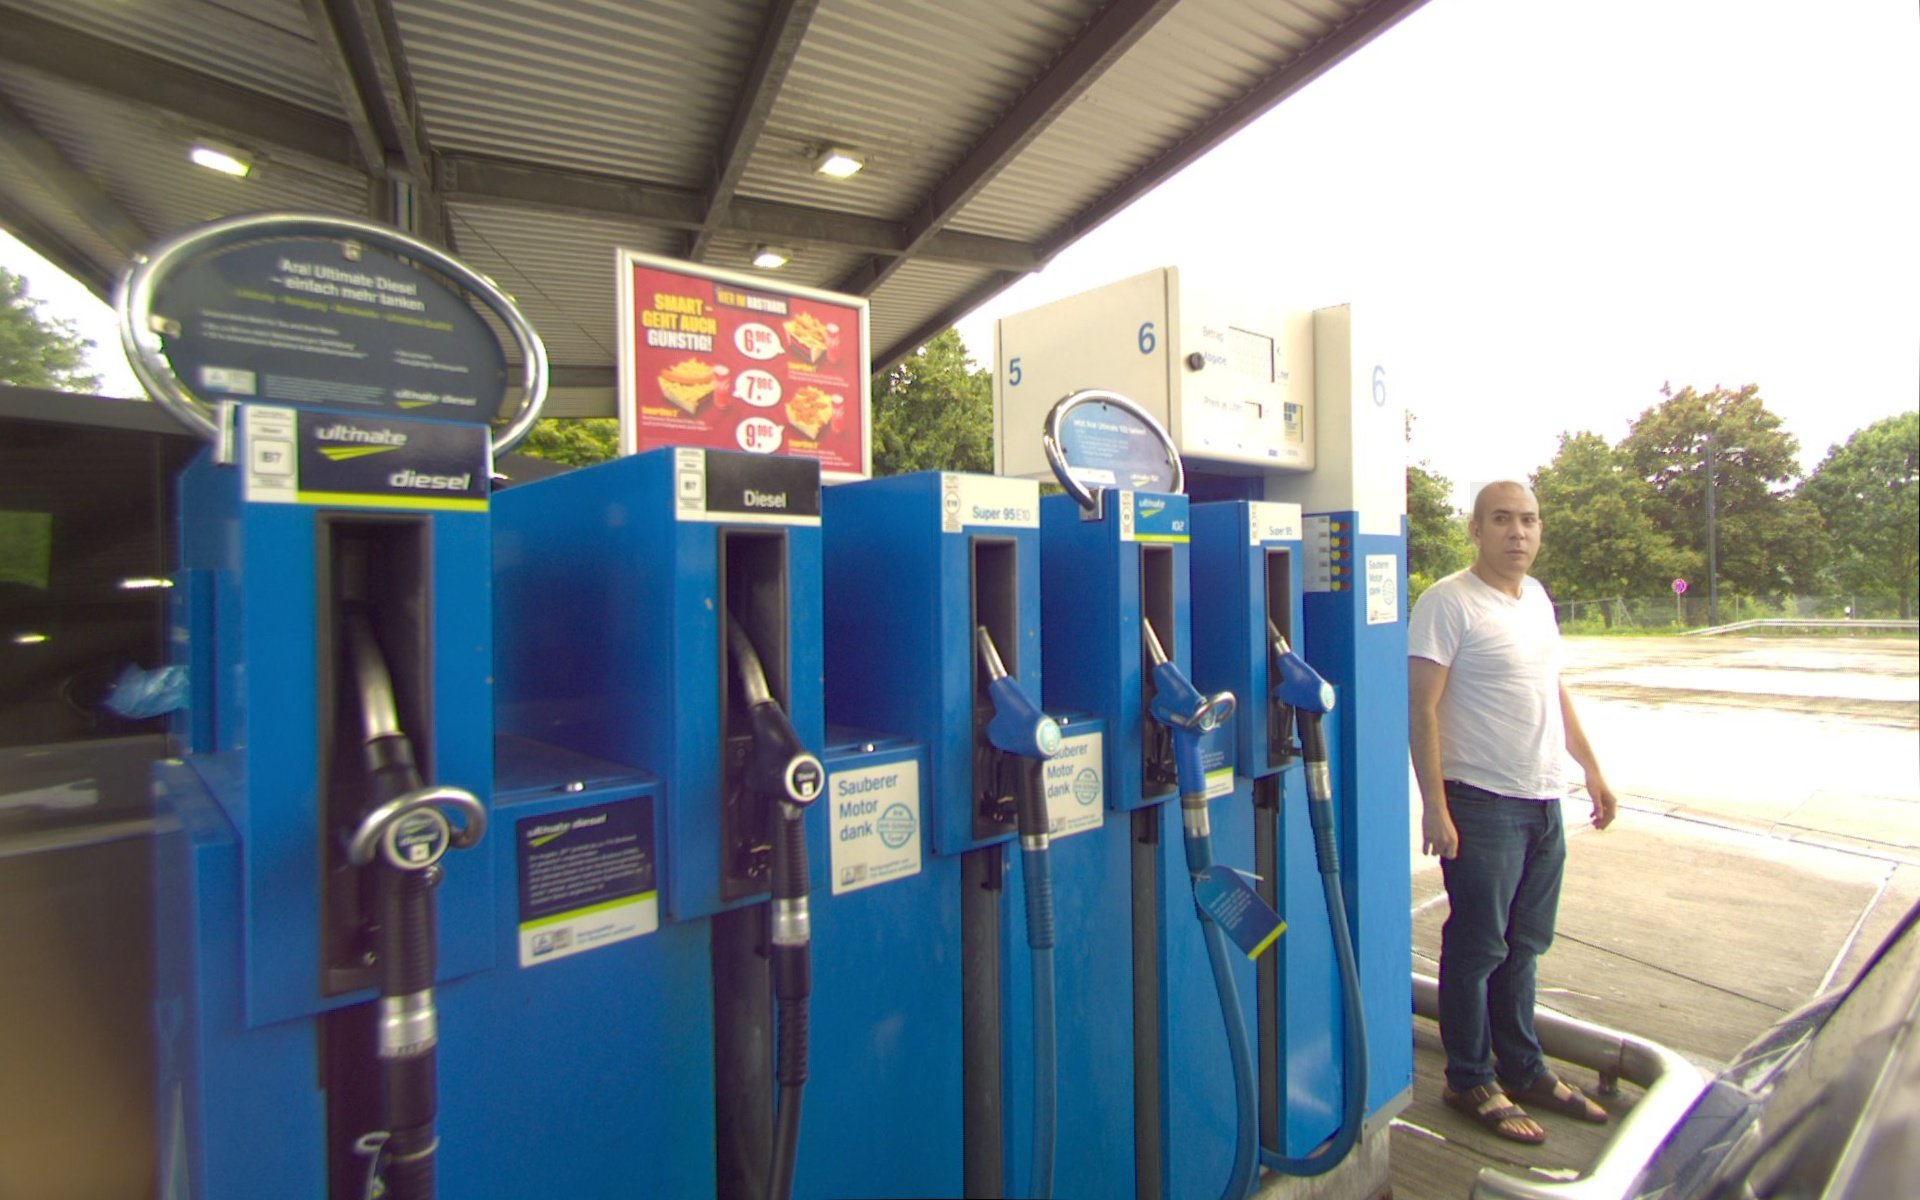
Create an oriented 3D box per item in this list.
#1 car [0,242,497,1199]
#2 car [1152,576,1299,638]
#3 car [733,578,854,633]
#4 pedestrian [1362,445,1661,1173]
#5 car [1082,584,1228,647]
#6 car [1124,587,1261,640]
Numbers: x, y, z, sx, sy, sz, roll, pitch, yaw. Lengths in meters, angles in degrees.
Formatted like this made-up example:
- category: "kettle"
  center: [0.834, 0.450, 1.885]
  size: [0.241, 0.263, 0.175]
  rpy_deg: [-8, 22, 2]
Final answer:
- category: "car"
  center: [-3.025, 0.412, 1.481]
  size: [3.930, 1.973, 1.819]
  rpy_deg: [0, 0, -41]
- category: "car"
  center: [8.932, 0.208, 34.335]
  size: [4.700, 2.011, 2.007]
  rpy_deg: [0, 0, 14]
- category: "car"
  center: [-5.555, 0.152, 33.469]
  size: [1.967, 1.683, 4.170]
  rpy_deg: [0, 0, -44]
- category: "pedestrian"
  center: [1.583, 0.517, 2.915]
  size: [0.621, 1.832, 0.495]
  rpy_deg: [-2, 1, -31]
- category: "car"
  center: [5.807, 0.421, 30.016]
  size: [4.123, 1.752, 1.990]
  rpy_deg: [0, 0, 17]
- category: "car"
  center: [7.395, 0.405, 32.150]
  size: [4.123, 1.576, 1.990]
  rpy_deg: [0, 0, 17]
